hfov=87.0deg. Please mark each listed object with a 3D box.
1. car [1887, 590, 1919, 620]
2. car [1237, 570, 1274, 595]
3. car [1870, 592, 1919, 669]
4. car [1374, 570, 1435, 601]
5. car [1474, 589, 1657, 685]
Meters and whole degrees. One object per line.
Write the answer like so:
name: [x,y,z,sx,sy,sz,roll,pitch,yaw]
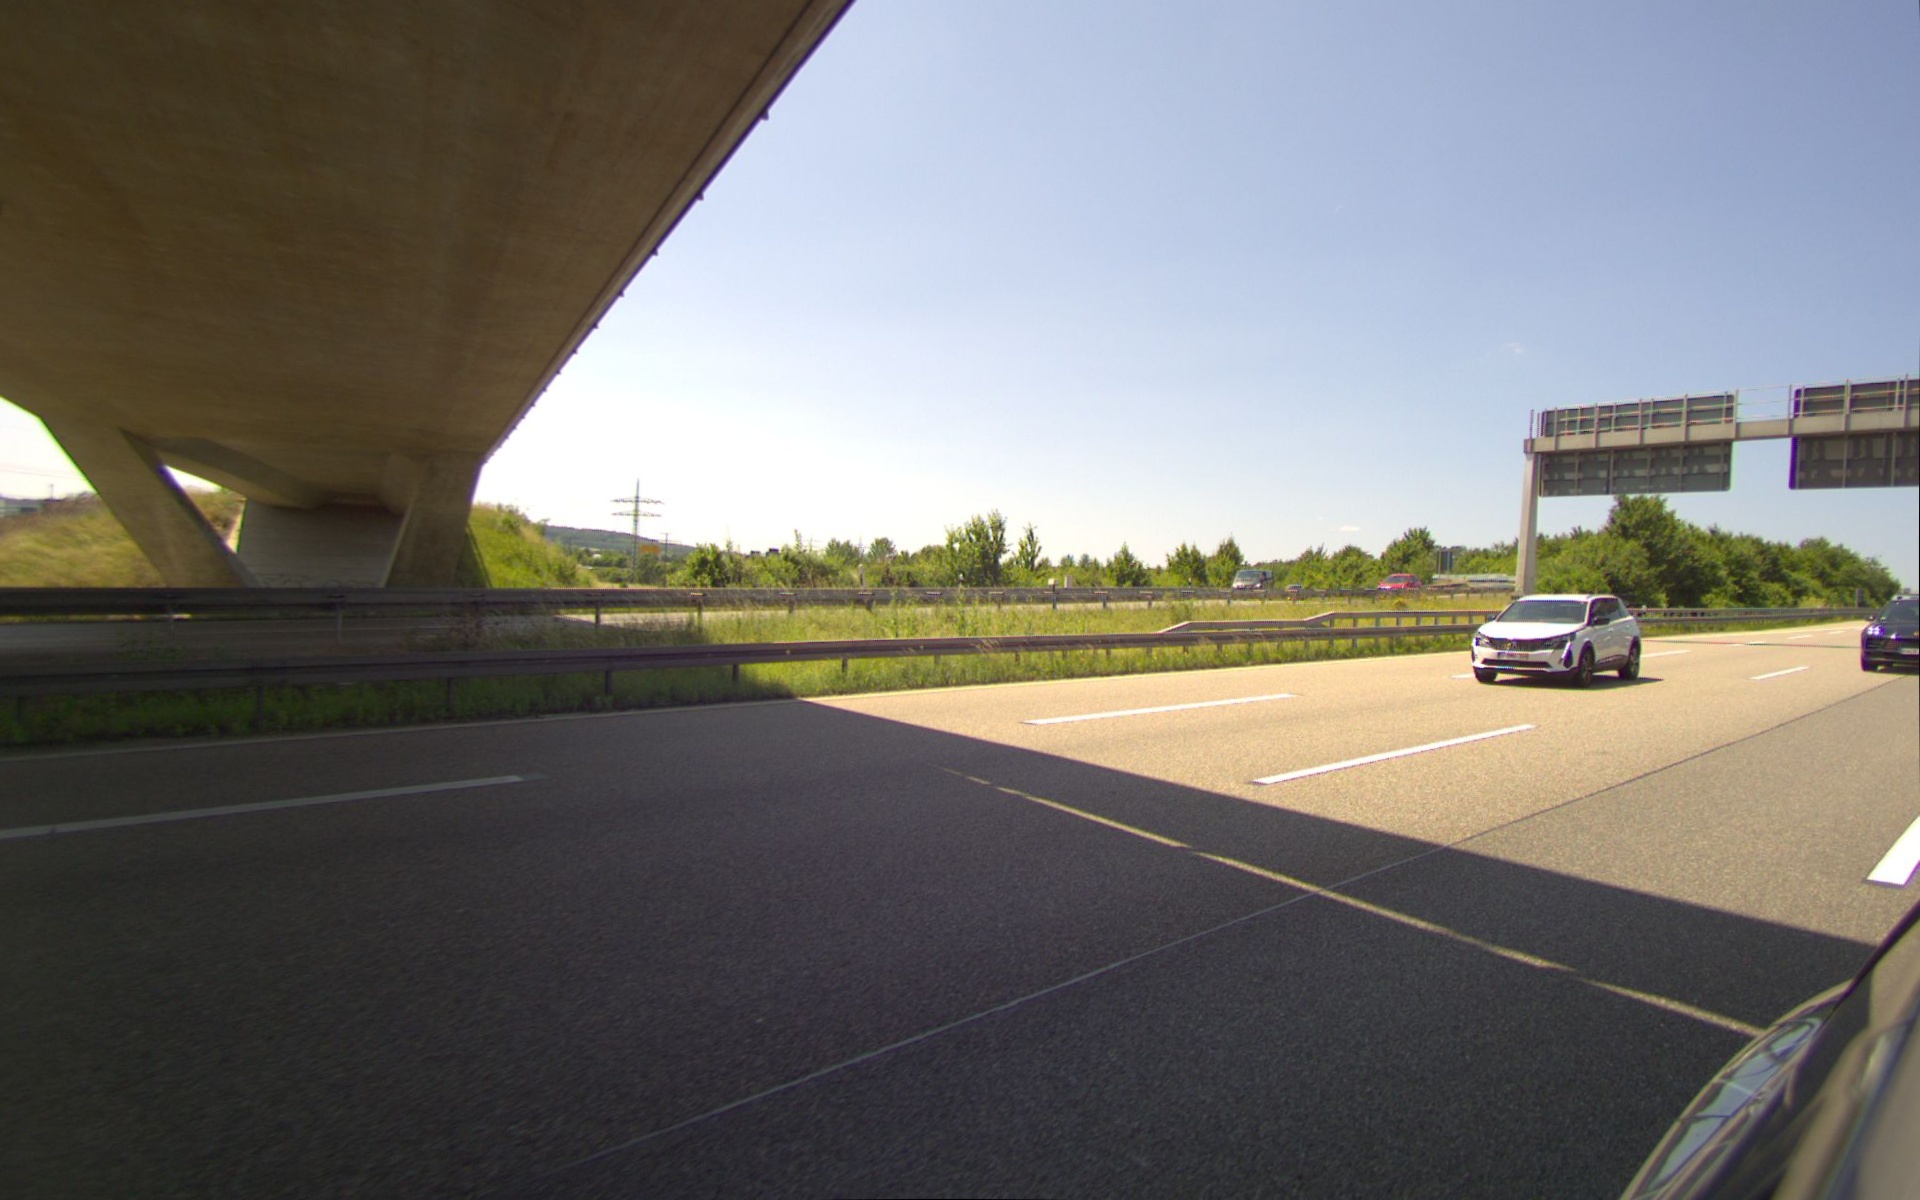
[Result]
car: [61.775,0.307,65.743,4.219,1.943,1.807,0,0,-40]
car: [18.854,-1.087,64.469,1.687,1.595,4.093,0,0,24]
car: [21.789,0.637,22.519,4.062,1.615,1.929,0,0,-43]
car: [23.989,-0.747,54.606,1.924,1.615,4.071,0,0,41]
car: [11.475,0.605,19.036,4.541,1.611,1.745,0,0,-43]
